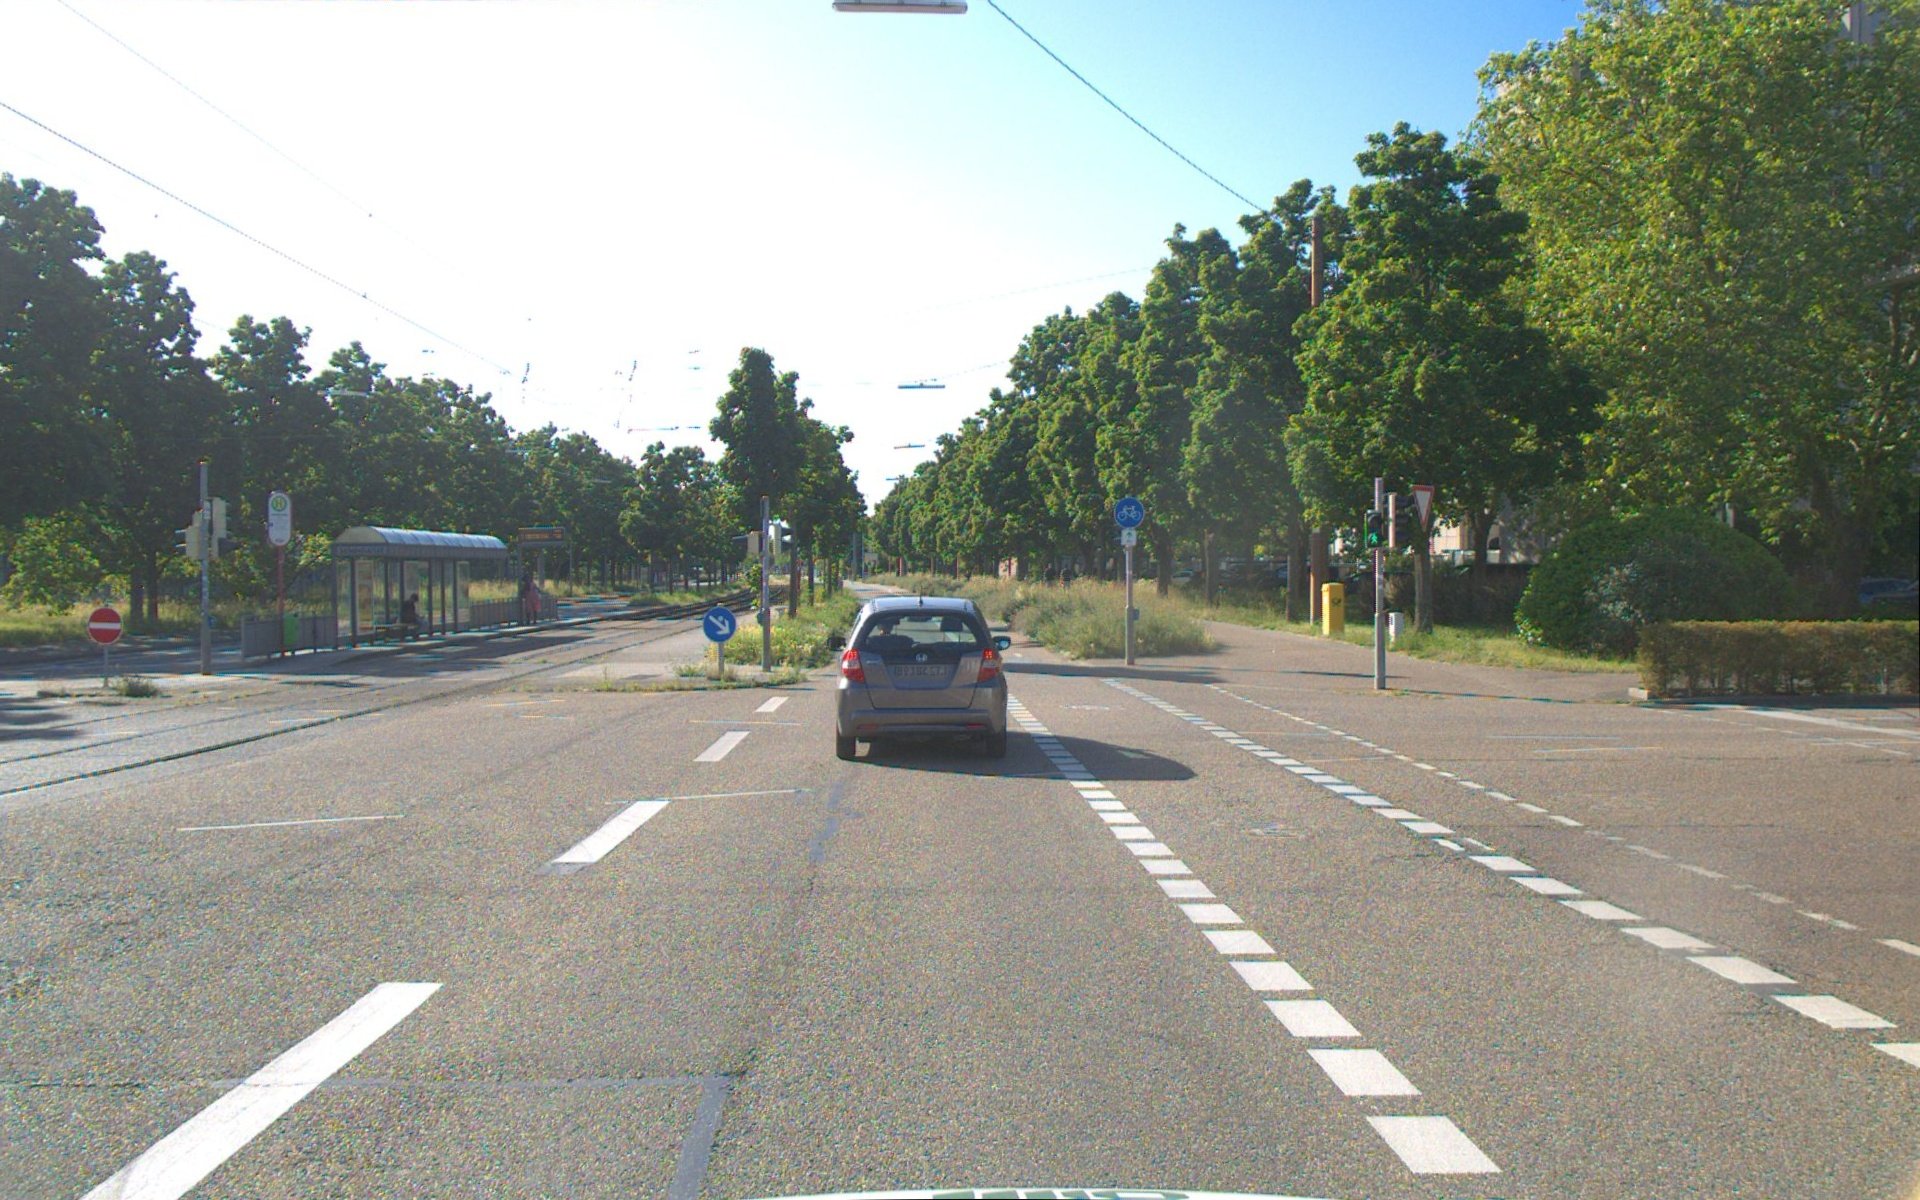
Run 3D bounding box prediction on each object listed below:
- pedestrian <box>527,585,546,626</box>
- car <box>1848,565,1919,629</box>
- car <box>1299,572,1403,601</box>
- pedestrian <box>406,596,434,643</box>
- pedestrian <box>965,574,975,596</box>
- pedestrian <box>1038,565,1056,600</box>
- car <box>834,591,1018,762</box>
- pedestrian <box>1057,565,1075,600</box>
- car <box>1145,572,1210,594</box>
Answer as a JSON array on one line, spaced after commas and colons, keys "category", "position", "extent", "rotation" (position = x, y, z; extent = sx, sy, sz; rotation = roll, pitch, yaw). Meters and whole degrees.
[{"category": "pedestrian", "position": [-15.436, 0.207, 60.281], "extent": [0.533, 1.473, 0.559], "rotation": [-1, 0, -1]}, {"category": "car", "position": [27.105, -0.101, 45.545], "extent": [4.371, 1.716, 1.892], "rotation": [-1, 0, -7]}, {"category": "car", "position": [19.253, -0.676, 81.522], "extent": [4.588, 1.350, 2.086], "rotation": [0, 1, 34]}, {"category": "pedestrian", "position": [-14.921, 0.533, 45.726], "extent": [0.552, 1.279, 0.580], "rotation": [-3, 0, -2]}, {"category": "pedestrian", "position": [0.758, -1.155, 129.700], "extent": [0.710, 1.720, 0.820], "rotation": [0, 0, -3]}, {"category": "pedestrian", "position": [4.778, -0.979, 90.815], "extent": [0.865, 1.917, 0.874], "rotation": [-1, 0, -5]}, {"category": "car", "position": [-0.336, 0.716, 16.909], "extent": [1.666, 1.550, 3.708], "rotation": [0, -1, -1]}, {"category": "pedestrian", "position": [5.831, -0.972, 90.859], "extent": [0.865, 1.917, 0.874], "rotation": [-1, 0, -5]}, {"category": "car", "position": [16.467, -1.266, 125.292], "extent": [4.543, 1.583, 1.997], "rotation": [-1, 1, -7]}]
